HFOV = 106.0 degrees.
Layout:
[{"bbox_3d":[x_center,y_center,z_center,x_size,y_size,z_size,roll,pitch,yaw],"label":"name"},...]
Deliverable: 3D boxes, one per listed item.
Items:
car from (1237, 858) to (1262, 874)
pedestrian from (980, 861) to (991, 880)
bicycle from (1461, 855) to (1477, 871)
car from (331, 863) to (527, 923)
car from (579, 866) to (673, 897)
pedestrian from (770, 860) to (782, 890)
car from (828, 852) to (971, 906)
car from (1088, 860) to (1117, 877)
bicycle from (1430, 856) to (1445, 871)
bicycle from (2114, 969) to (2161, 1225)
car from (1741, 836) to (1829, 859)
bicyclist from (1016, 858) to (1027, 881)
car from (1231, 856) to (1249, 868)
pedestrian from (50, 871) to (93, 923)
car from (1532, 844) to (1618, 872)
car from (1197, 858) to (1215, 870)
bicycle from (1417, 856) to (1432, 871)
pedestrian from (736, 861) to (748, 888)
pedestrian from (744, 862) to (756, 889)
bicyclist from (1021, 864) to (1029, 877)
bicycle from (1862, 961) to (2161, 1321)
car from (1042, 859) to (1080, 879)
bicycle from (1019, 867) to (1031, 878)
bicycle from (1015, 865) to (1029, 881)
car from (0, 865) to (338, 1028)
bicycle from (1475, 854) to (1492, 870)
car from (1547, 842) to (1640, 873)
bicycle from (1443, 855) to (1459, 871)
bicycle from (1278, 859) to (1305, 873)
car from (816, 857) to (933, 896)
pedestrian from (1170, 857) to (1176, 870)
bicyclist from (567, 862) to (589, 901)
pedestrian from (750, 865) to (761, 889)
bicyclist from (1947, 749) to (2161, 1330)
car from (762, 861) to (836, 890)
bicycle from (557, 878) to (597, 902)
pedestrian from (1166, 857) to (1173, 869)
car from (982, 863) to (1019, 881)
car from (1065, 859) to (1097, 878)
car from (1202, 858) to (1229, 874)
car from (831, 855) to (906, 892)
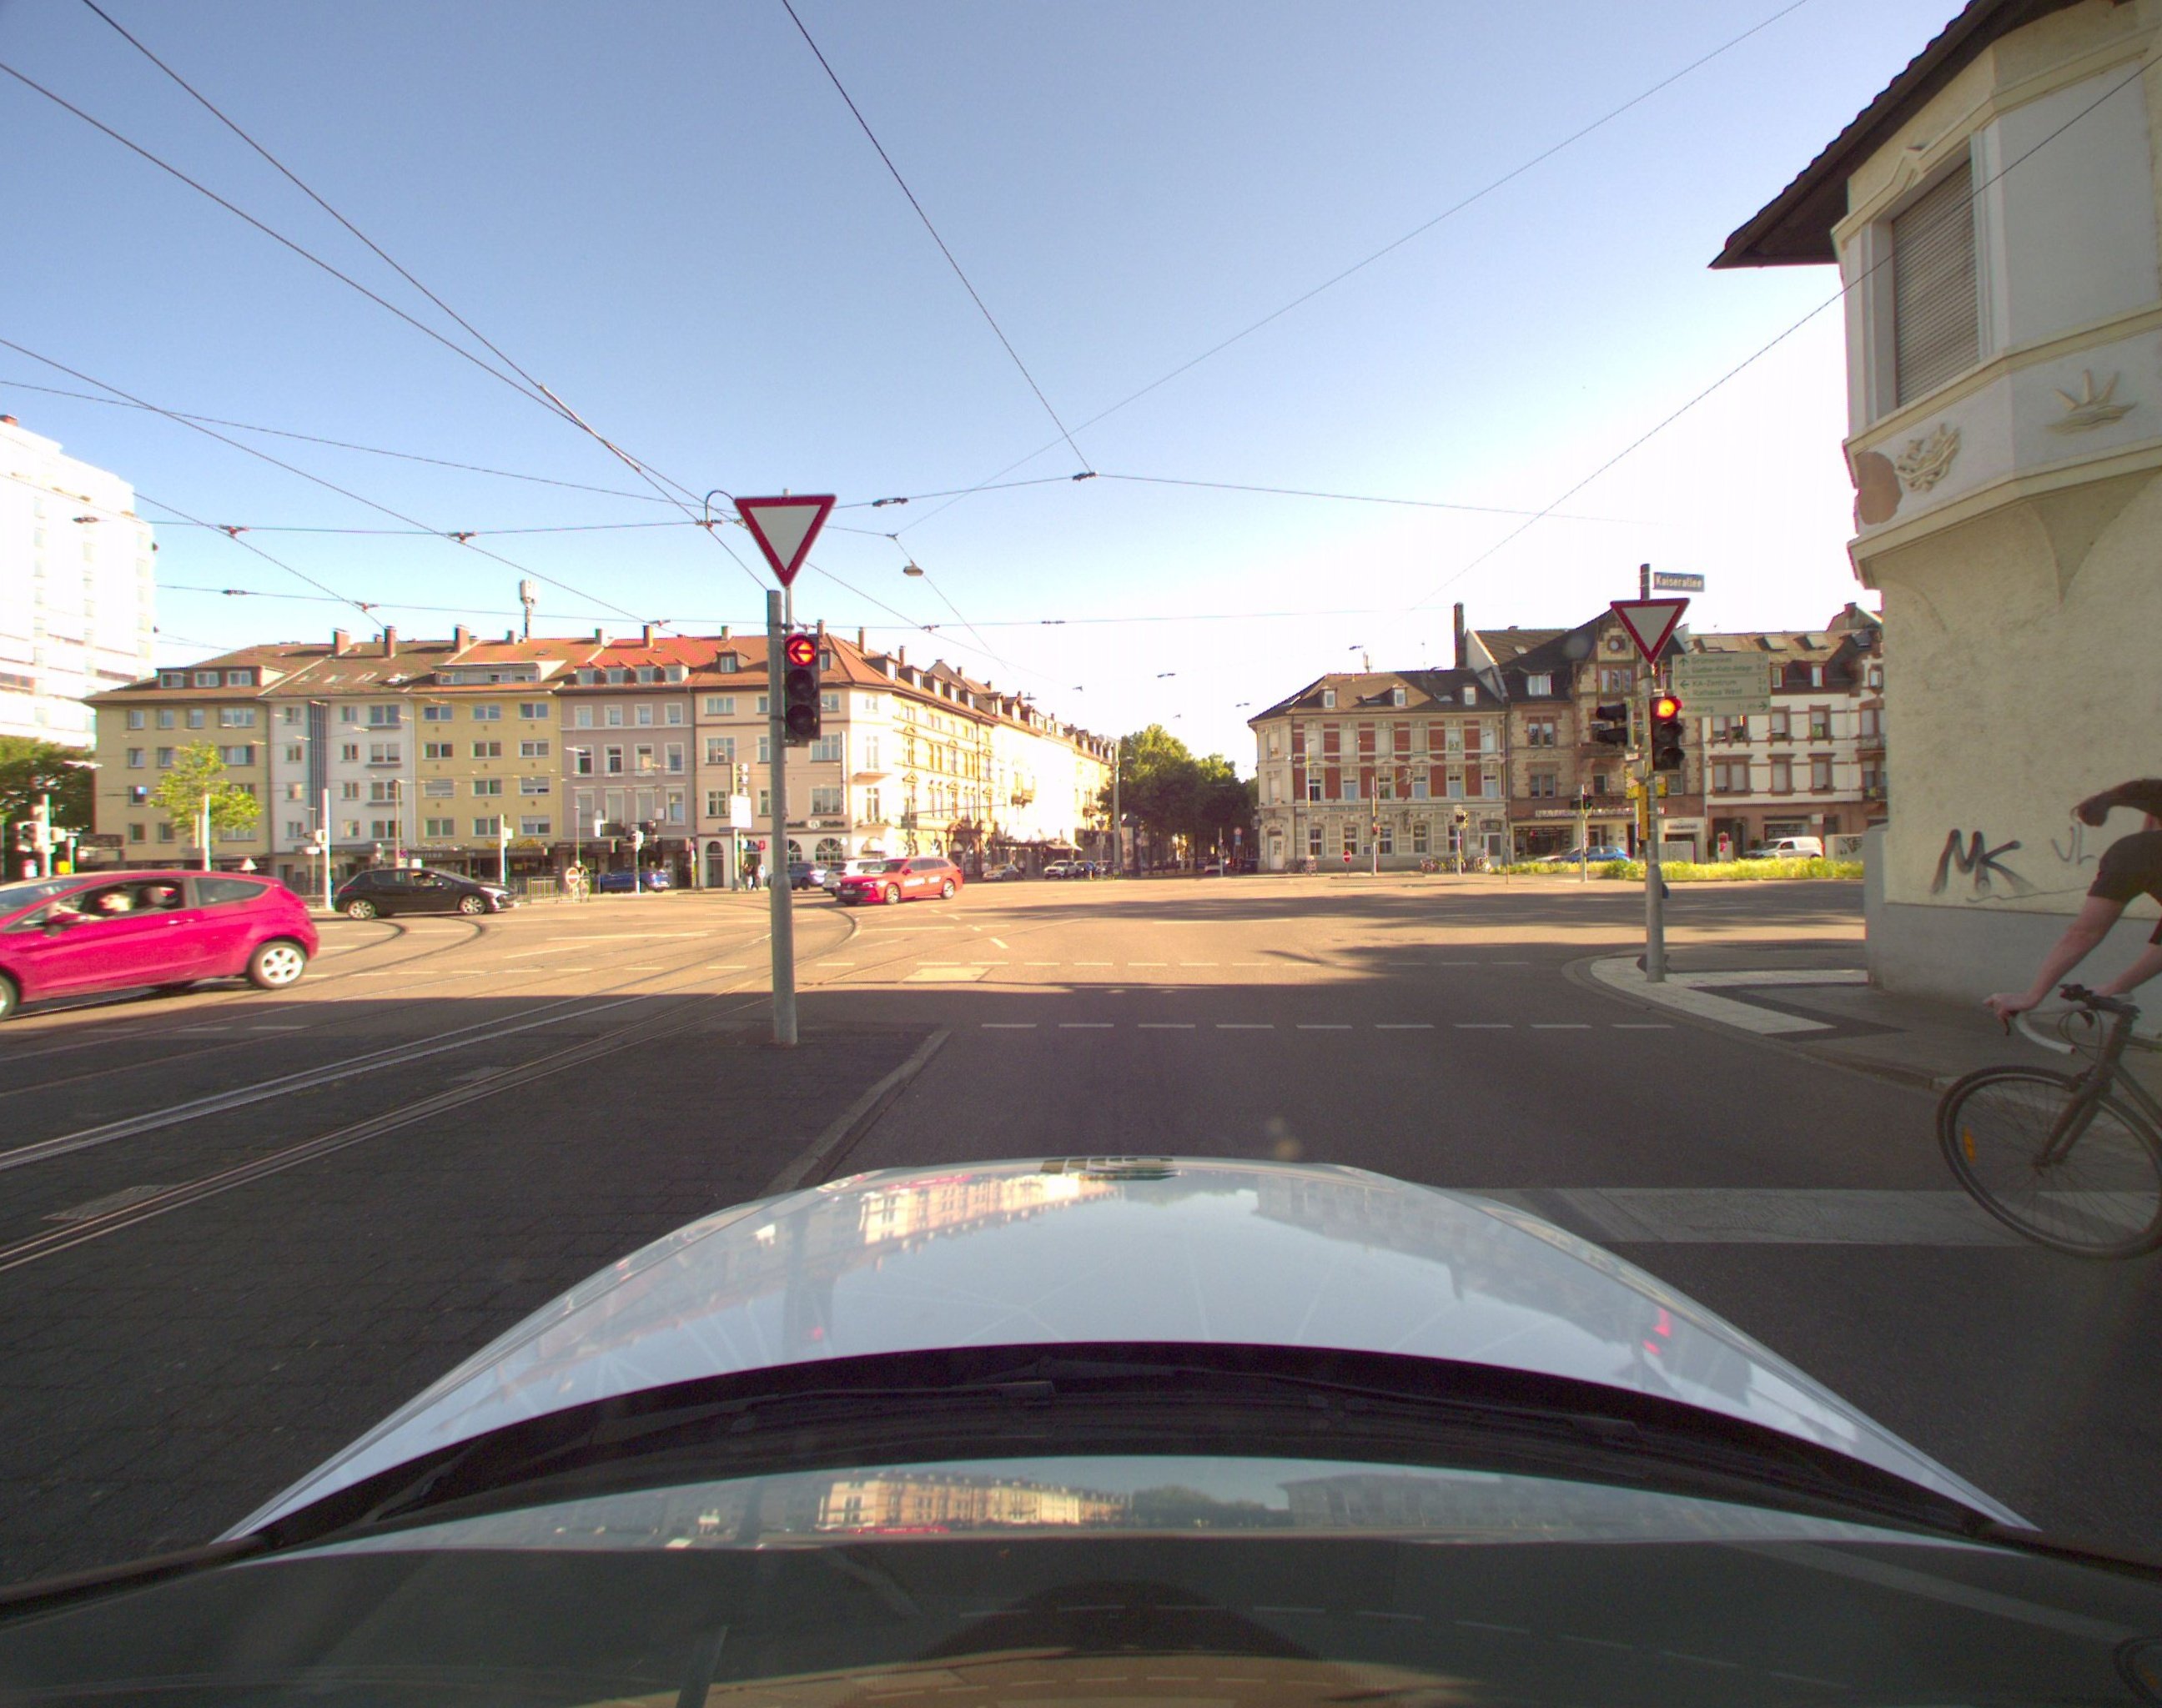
[{"bbox_3d":[17.038,1.213,82.257,1.741,1.556,4.021,-1,-1,22],"label":"car"},{"bbox_3d":[-8.187,1.442,69.944,0.562,1.642,0.797,-1,-1,25],"label":"pedestrian"},{"bbox_3d":[25.180,0.568,52.873,0.758,1.007,2.231,-1,-1,20],"label":"bicycle"},{"bbox_3d":[-19.462,1.121,24.581,4.218,1.517,1.983,-2,0,-26],"label":"car"},{"bbox_3d":[-24.959,1.488,44.786,4.164,1.575,1.834,-1,0,5],"label":"car"},{"bbox_3d":[-19.006,1.288,50.688,0.526,1.823,0.675,0,-1,-6],"label":"pedestrian"},{"bbox_3d":[-5.741,0.743,26.449,1.781,1.469,4.904,-1,1,27],"label":"car"},{"bbox_3d":[2.117,1.380,79.536,1.788,1.575,3.908,-1,-1,17],"label":"car"},{"bbox_3d":[23.248,0.595,53.083,0.758,0.968,2.221,-1,-1,20],"label":"bicycle"},{"bbox_3d":[4.455,0.953,2.434,0.501,0.983,1.783,0,-1,2],"label":"bicycle"},{"bbox_3d":[45.259,-0.406,52.424,3.961,1.438,1.874,0,-1,5],"label":"car"},{"bbox_3d":[-4.765,1.223,65.441,0.561,1.804,0.918,-1,-1,17],"label":"bicyclist"},{"bbox_3d":[19.336,0.937,98.974,1.812,1.403,4.016,-1,0,15],"label":"car"},{"bbox_3d":[-31.643,1.329,25.541,0.770,1.609,0.605,0,-1,-44],"label":"pedestrian"},{"bbox_3d":[29.207,0.223,48.202,3.970,1.622,1.806,0,-1,3],"label":"car"},{"bbox_3d":[17.857,1.393,116.361,1.978,1.684,4.018,-1,-1,17],"label":"car"},{"bbox_3d":[22.493,0.602,53.350,0.758,0.963,2.221,-1,-1,20],"label":"bicycle"},{"bbox_3d":[-21.019,1.263,50.522,0.520,1.648,0.498,0,-1,1],"label":"pedestrian"},{"bbox_3d":[-20.511,1.316,50.423,0.520,1.648,0.498,0,-1,1],"label":"pedestrian"},{"bbox_3d":[-4.626,1.364,67.692,0.469,1.040,0.540,-1,-1,17],"label":"bicyclist"},{"bbox_3d":[3.584,0.950,2.613,0.480,0.991,1.783,0,-1,2],"label":"bicycle"},{"bbox_3d":[-1.656,1.196,67.452,1.788,1.585,4.179,-1,-1,19],"label":"car"},{"bbox_3d":[-4.625,1.521,67.679,0.469,0.922,1.458,-1,-1,17],"label":"bicycle"},{"bbox_3d":[-4.756,1.503,65.430,0.561,1.254,1.564,-1,-1,17],"label":"bicycle"},{"bbox_3d":[-10.580,0.885,8.601,1.581,1.426,3.891,-1,0,8],"label":"car"},{"bbox_3d":[26.060,0.502,52.732,0.785,1.016,2.221,-1,-1,20],"label":"bicycle"},{"bbox_3d":[28.319,0.203,45.108,3.970,1.622,1.806,0,-1,3],"label":"car"},{"bbox_3d":[24.035,0.588,52.960,0.758,0.983,2.221,-1,-1,20],"label":"bicycle"},{"bbox_3d":[14.696,0.851,56.909,1.789,0.963,0.606,-1,-1,16],"label":"bicycle"},{"bbox_3d":[-8.240,0.868,32.732,4.251,1.389,1.714,-2,0,-42],"label":"car"},{"bbox_3d":[14.177,1.485,125.405,0.746,2.014,1.004,-1,-1,18],"label":"pedestrian"},{"bbox_3d":[-23.442,1.271,37.952,0.618,1.790,0.616,0,-1,7],"label":"bicyclist"},{"bbox_3d":[-20.052,1.397,50.180,0.489,1.492,0.556,0,-1,1],"label":"pedestrian"},{"bbox_3d":[3.581,0.565,2.617,0.587,1.767,0.936,0,-1,2],"label":"bicyclist"},{"bbox_3d":[-15.480,1.151,44.643,3.869,1.503,1.802,-1,1,34],"label":"car"},{"bbox_3d":[-23.439,1.662,37.915,0.618,1.030,1.758,0,-1,7],"label":"bicycle"},{"bbox_3d":[12.610,1.302,116.337,0.714,1.790,0.690,0,-1,-34],"label":"pedestrian"},{"bbox_3d":[-6.634,1.472,67.331,1.647,1.374,3.909,-1,-1,17],"label":"car"},{"bbox_3d":[0.035,1.310,73.740,1.809,1.685,3.893,-1,-1,18],"label":"car"},{"bbox_3d":[13.828,1.224,83.417,1.876,1.454,4.030,-2,0,22],"label":"car"},{"bbox_3d":[-9.990,0.888,38.641,1.858,1.602,4.463,-2,0,7],"label":"car"}]
